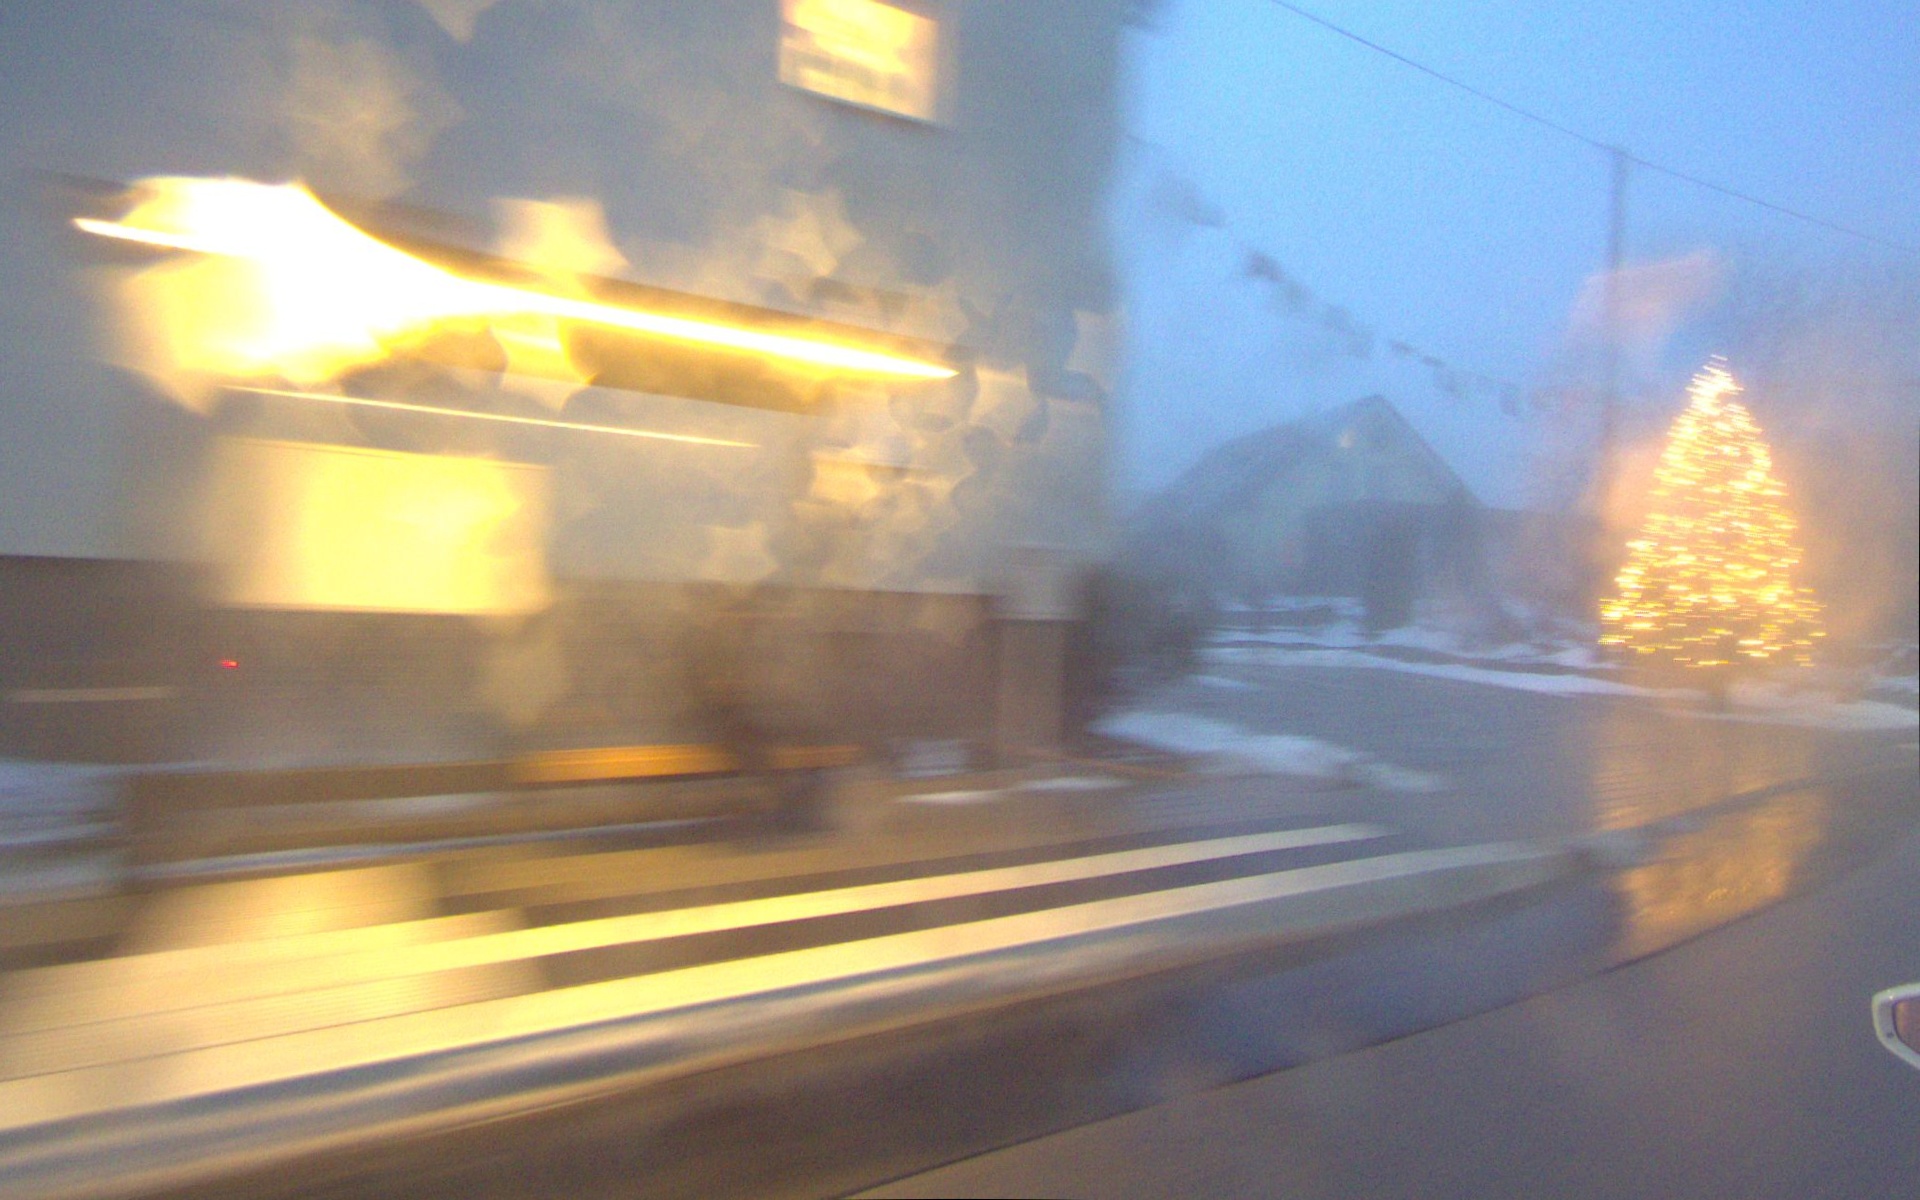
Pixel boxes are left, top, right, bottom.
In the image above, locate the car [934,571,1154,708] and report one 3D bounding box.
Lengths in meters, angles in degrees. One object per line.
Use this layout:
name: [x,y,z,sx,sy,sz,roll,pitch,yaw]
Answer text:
car: [1.193,0.549,16.150,1.886,1.815,3.807,4,1,-23]
